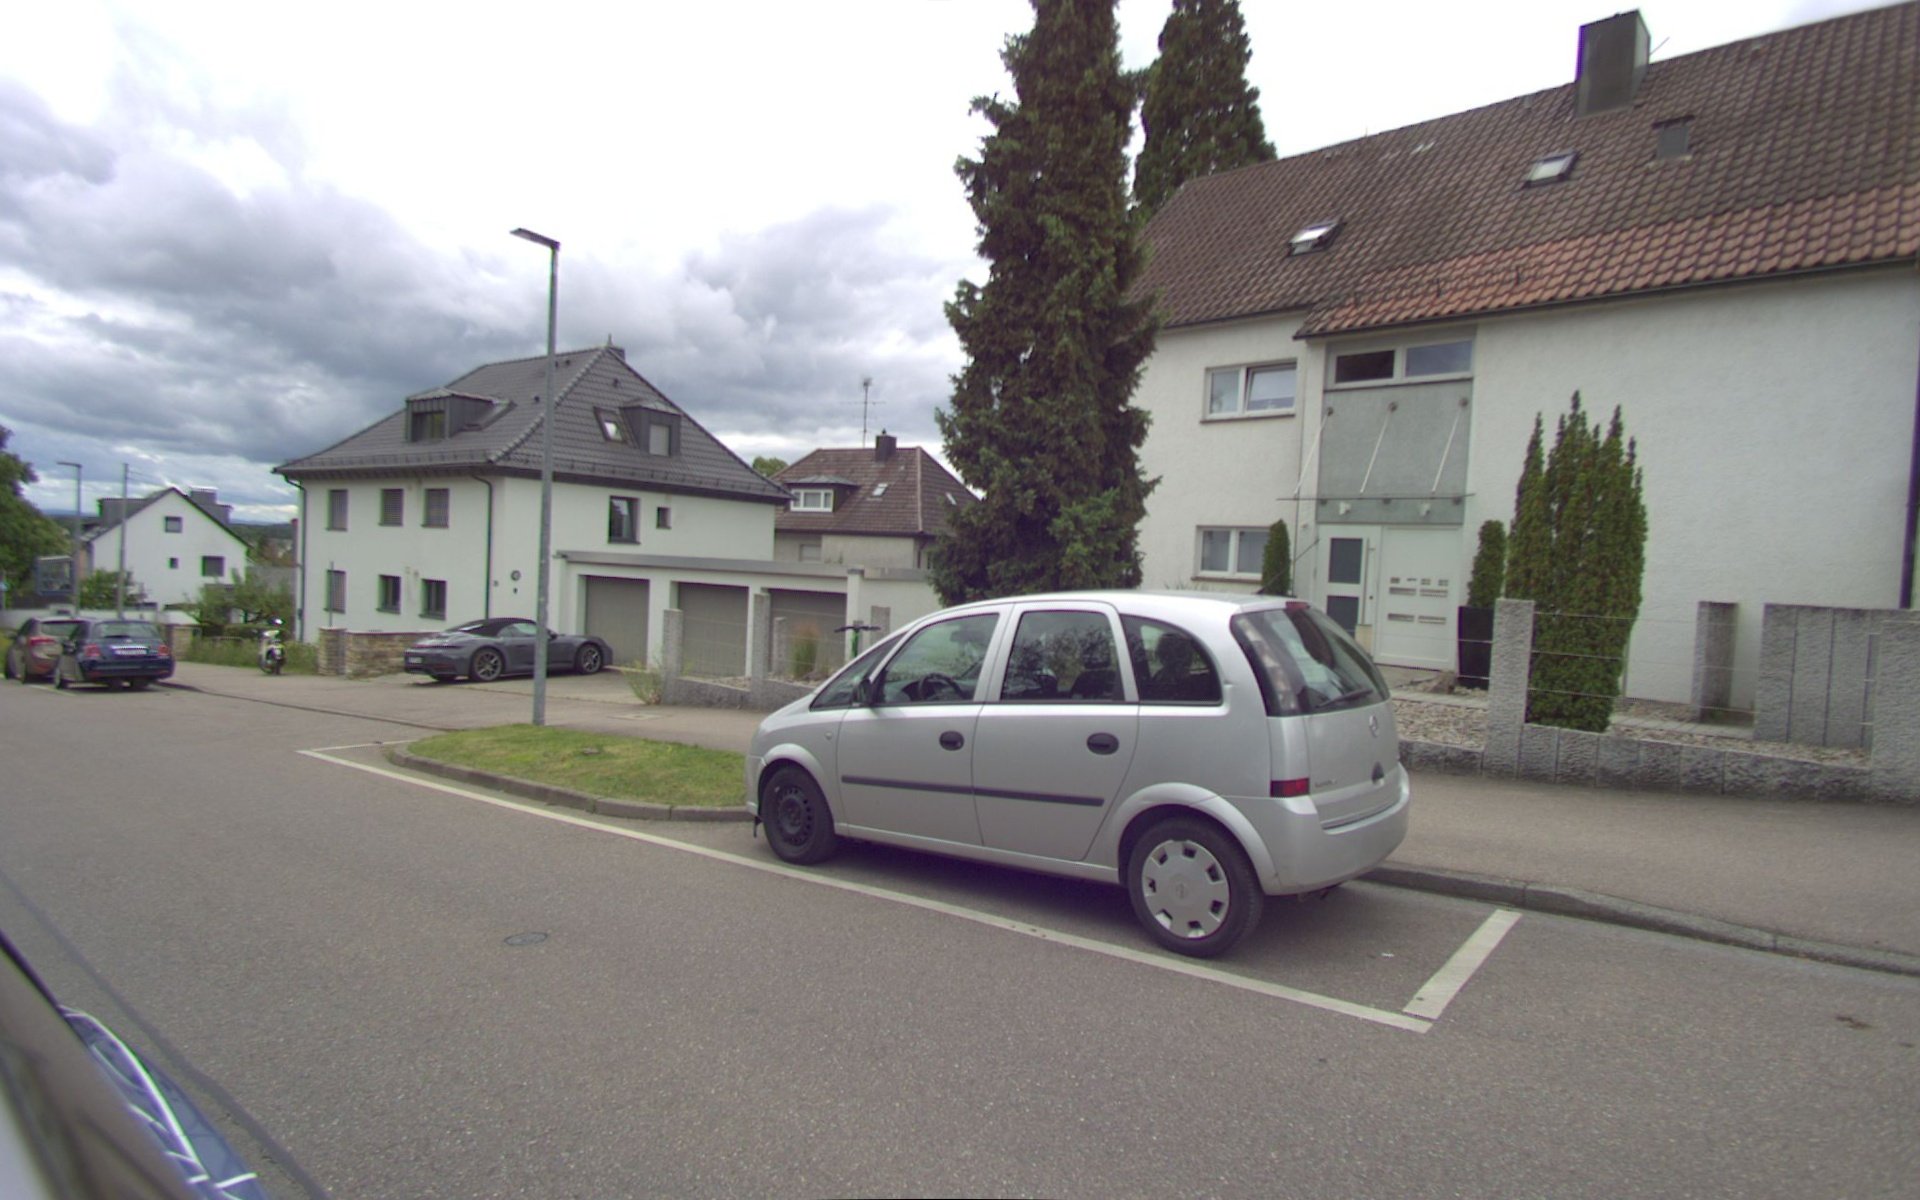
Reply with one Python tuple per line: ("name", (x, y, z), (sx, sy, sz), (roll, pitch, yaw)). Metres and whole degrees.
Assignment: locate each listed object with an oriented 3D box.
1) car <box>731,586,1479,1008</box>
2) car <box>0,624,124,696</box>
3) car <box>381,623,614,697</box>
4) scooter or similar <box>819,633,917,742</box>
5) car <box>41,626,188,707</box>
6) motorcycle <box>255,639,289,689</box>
("car", (0.605, 0.790, 5.716), (3.852, 1.575, 1.743), (-1, -2, 40))
("car", (-22.223, 1.409, 24.950), (3.869, 1.597, 1.858), (-1, -1, 41))
("car", (-9.889, 1.232, 21.933), (1.900, 1.378, 4.250), (-1, -1, 34))
("scooter or similar", (-1.099, 0.984, 11.824), (0.468, 1.157, 1.458), (-2, 0, -34))
("car", (-18.118, 1.344, 21.649), (3.505, 1.548, 1.858), (-1, -1, 41))
("motorcycle", (-17.231, 1.580, 25.328), (0.424, 1.169, 1.865), (2, -1, -42))
